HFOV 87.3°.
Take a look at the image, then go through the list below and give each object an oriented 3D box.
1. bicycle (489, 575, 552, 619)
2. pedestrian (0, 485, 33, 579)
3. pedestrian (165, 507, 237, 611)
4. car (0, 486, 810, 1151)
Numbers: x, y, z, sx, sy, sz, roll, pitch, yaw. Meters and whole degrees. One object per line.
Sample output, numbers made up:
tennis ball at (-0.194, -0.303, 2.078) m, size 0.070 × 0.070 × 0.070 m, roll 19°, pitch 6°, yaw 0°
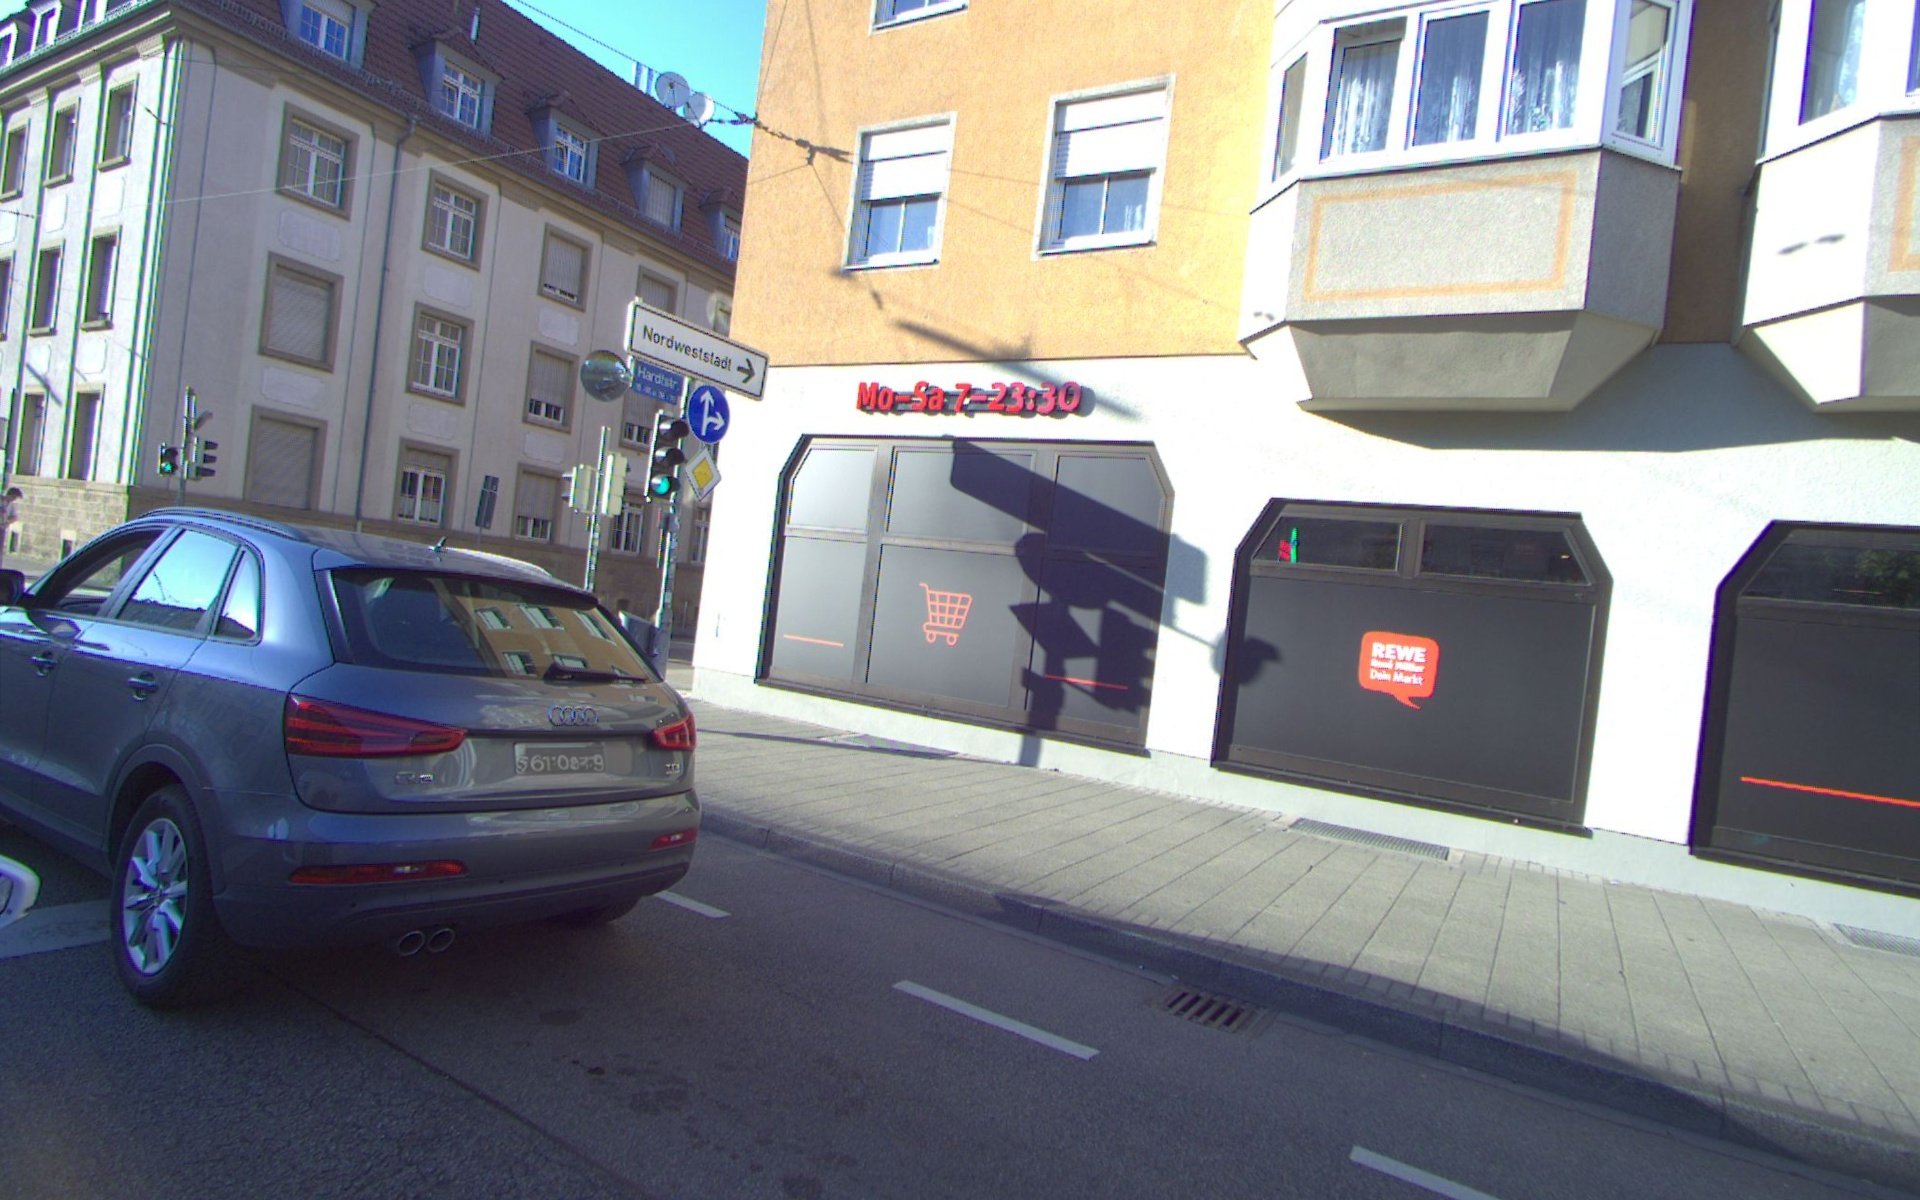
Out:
bicycle at (-12.044, -0.071, 27.611) m, size 1.499 × 1.029 × 0.247 m, roll 9°, pitch -2°, yaw -43°
pedestrian at (-19.072, -1.385, 19.832) m, size 0.810 × 1.783 × 0.837 m, roll 6°, pitch -1°, yaw 31°
pedestrian at (-13.914, -0.745, 18.439) m, size 0.812 × 1.778 × 0.630 m, roll 6°, pitch -1°, yaw 32°
car at (-2.862, 0.472, 4.331) m, size 4.156 × 1.571 × 1.700 m, roll 6°, pitch -1°, yaw 33°
